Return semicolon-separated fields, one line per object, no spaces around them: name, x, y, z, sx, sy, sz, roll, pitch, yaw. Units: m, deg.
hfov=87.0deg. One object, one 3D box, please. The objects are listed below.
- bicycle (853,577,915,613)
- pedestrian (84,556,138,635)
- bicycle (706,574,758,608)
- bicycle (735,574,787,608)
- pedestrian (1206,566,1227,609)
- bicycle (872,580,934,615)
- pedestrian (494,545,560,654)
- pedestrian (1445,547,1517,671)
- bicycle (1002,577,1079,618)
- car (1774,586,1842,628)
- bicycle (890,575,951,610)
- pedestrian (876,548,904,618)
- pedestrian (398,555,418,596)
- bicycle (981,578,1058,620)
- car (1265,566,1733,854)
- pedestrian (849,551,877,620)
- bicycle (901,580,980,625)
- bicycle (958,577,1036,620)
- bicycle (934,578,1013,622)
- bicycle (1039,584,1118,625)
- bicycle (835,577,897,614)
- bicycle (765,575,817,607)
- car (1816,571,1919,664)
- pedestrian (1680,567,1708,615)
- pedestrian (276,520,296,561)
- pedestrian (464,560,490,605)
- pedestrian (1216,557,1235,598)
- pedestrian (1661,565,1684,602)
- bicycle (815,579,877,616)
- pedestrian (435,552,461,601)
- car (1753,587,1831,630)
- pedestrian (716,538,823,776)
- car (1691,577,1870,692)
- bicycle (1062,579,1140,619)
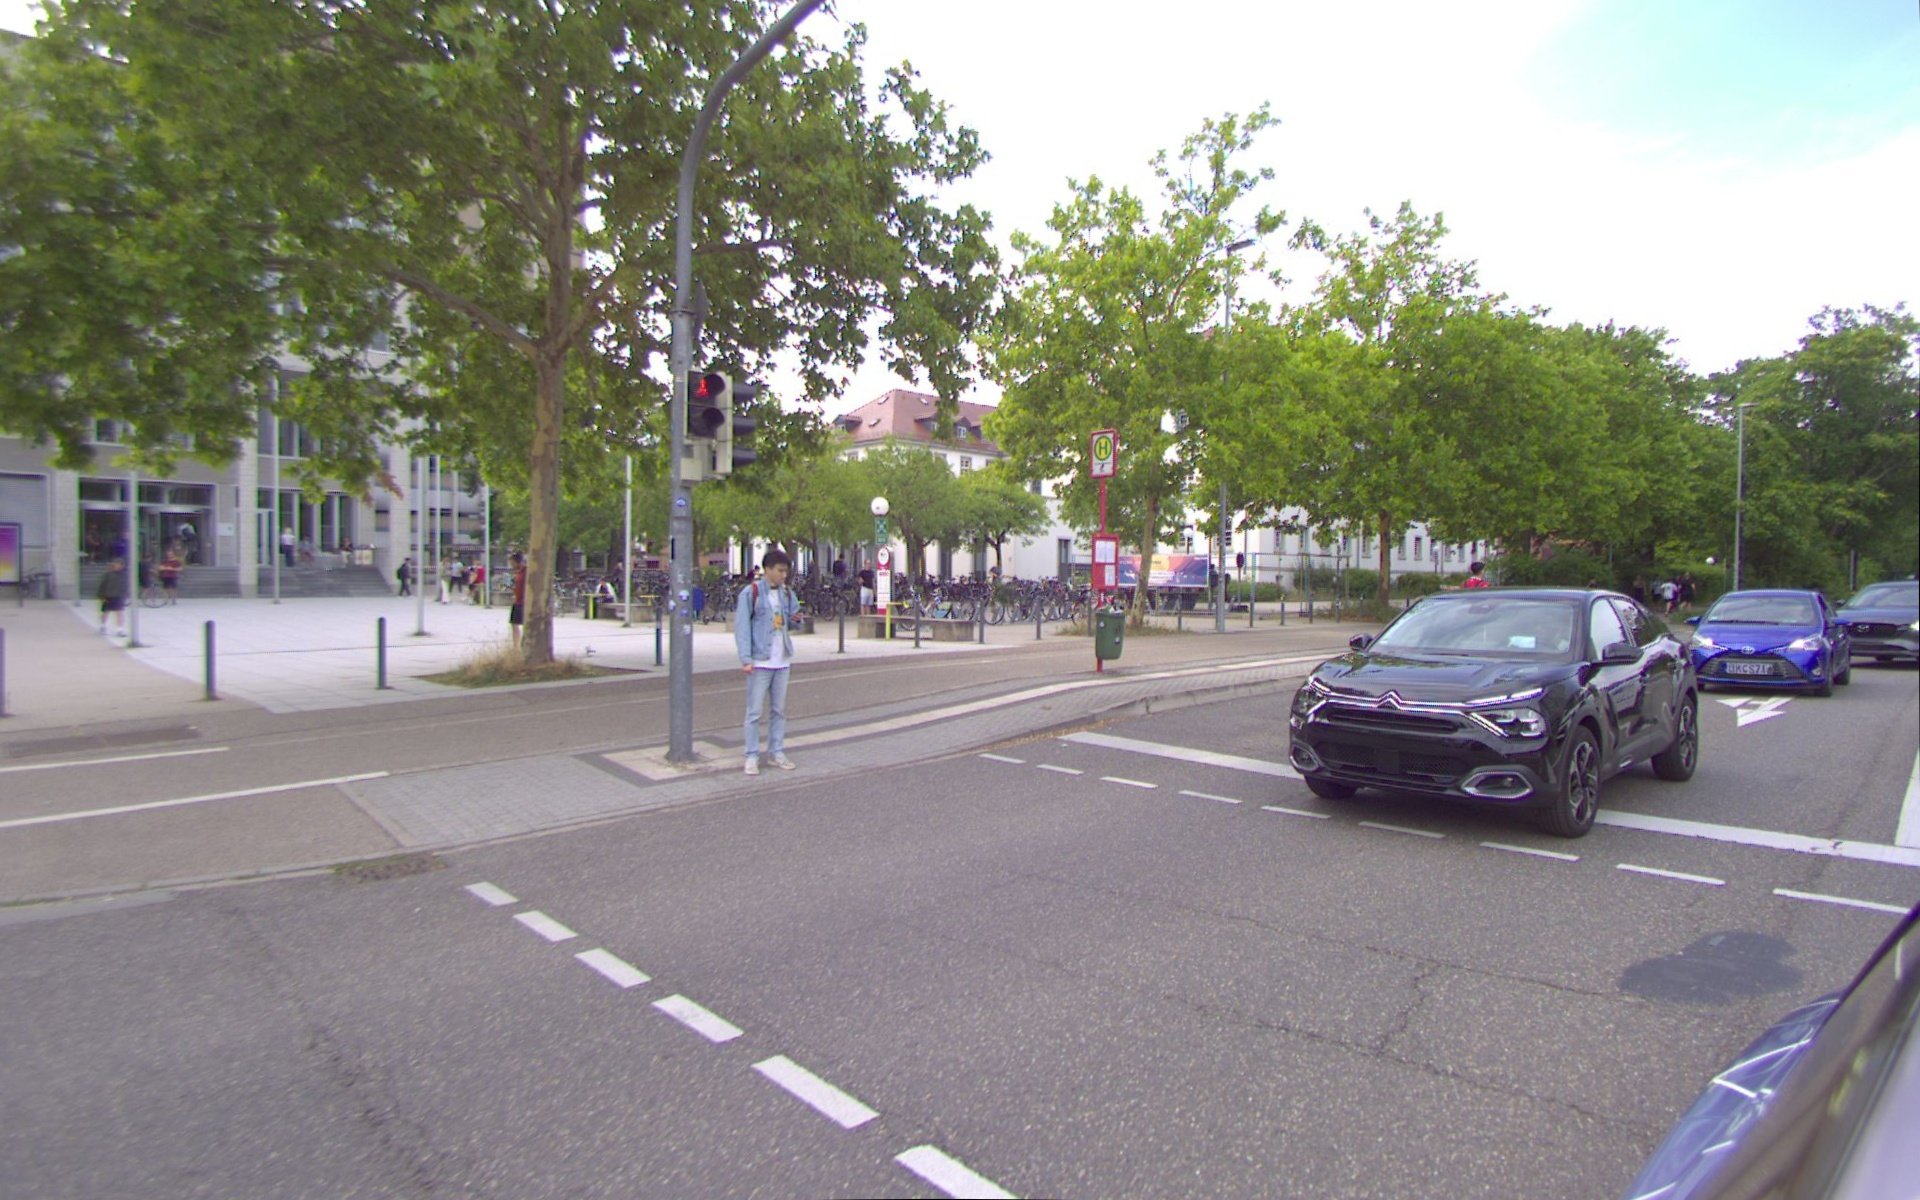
bicycle;-2.560;-0.193;33.912;0.705;1.156;2.469;-1;2;-42
pedestrian;-19.141;-0.107;22.833;0.687;1.729;0.956;0;0;-25
bicycle;-8.090;-0.324;35.826;0.705;1.156;2.469;-1;2;-42
bicycle;-7.232;-0.346;36.632;0.705;1.156;2.469;-1;2;-42
pedestrian;10.661;-0.519;42.049;0.584;1.760;0.585;0;1;-42
bicycle;-1.965;-0.105;34.481;0.705;1.156;2.469;-1;2;-42
pedestrian;-7.483;-0.019;17.488;0.875;1.827;0.769;-1;0;-39
pedestrian;8.245;0.125;16.010;0.725;1.876;1.048;1;1;44
bicycle;2.366;-0.088;29.950;0.705;1.156;2.469;-1;2;-42
car;32.133;0.235;38.304;3.952;1.481;1.603;-1;1;-45
bicycle;-1.382;-0.278;35.024;0.705;1.156;2.469;-1;2;-42
pedestrian;-2.015;-0.489;29.163;0.674;1.988;0.601;0;0;7
pedestrian;-22.597;-0.998;41.427;0.590;1.661;0.634;0;0;-20
bicycle;1.694;-0.046;29.363;0.705;1.156;2.469;-1;2;-42
car;4.204;0.584;7.596;4.104;1.576;1.802;-1;0;-42
pedestrian;-2.796;-0.420;29.309;0.674;1.988;0.601;0;0;7
bicycle;-0.555;0.047;27.401;0.705;1.156;2.469;-1;2;-42
bicycle;1.026;-0.056;28.761;0.705;1.156;2.469;-1;2;-42
bicycle;0.349;-0.014;28.187;0.705;1.156;2.469;-1;2;-42
bicycle;3.482;0.109;29.980;0.705;1.156;2.469;-1;2;-42
bicycle;-3.130;-0.179;33.393;0.705;1.156;2.469;-1;2;-42
bicycle;-6.293;-0.350;37.532;0.705;1.156;2.469;-1;2;-42
car;18.601;0.287;19.767;4.559;1.669;1.905;0;1;-37
pedestrian;30.956;-0.387;42.676;0.747;1.958;0.796;0;1;-44
pedestrian;-29.195;-2.583;43.838;0.619;1.736;0.673;0;0;-26
pedestrian;-17.863;-0.644;37.412;0.723;1.617;0.595;0;0;34
pedestrian;11.589;-0.963;44.131;0.583;1.774;0.530;0;1;-40
pedestrian;30.367;-0.709;43.133;0.791;1.584;0.645;0;1;-44
bicycle;-3.730;-0.102;32.837;0.705;1.156;2.469;-1;2;-42
pedestrian;-19.591;-0.891;38.703;0.722;1.867;0.596;-1;0;32
car;28.889;0.253;35.124;3.769;1.386;1.700;-1;2;-45
pedestrian;-1.560;0.433;8.279;0.670;1.839;0.574;0;1;-41
car;12.544;0.418;15.390;3.769;1.512;1.700;-1;2;-45
bicycle;4.226;-0.051;30.553;0.705;1.156;2.469;-1;2;-42
